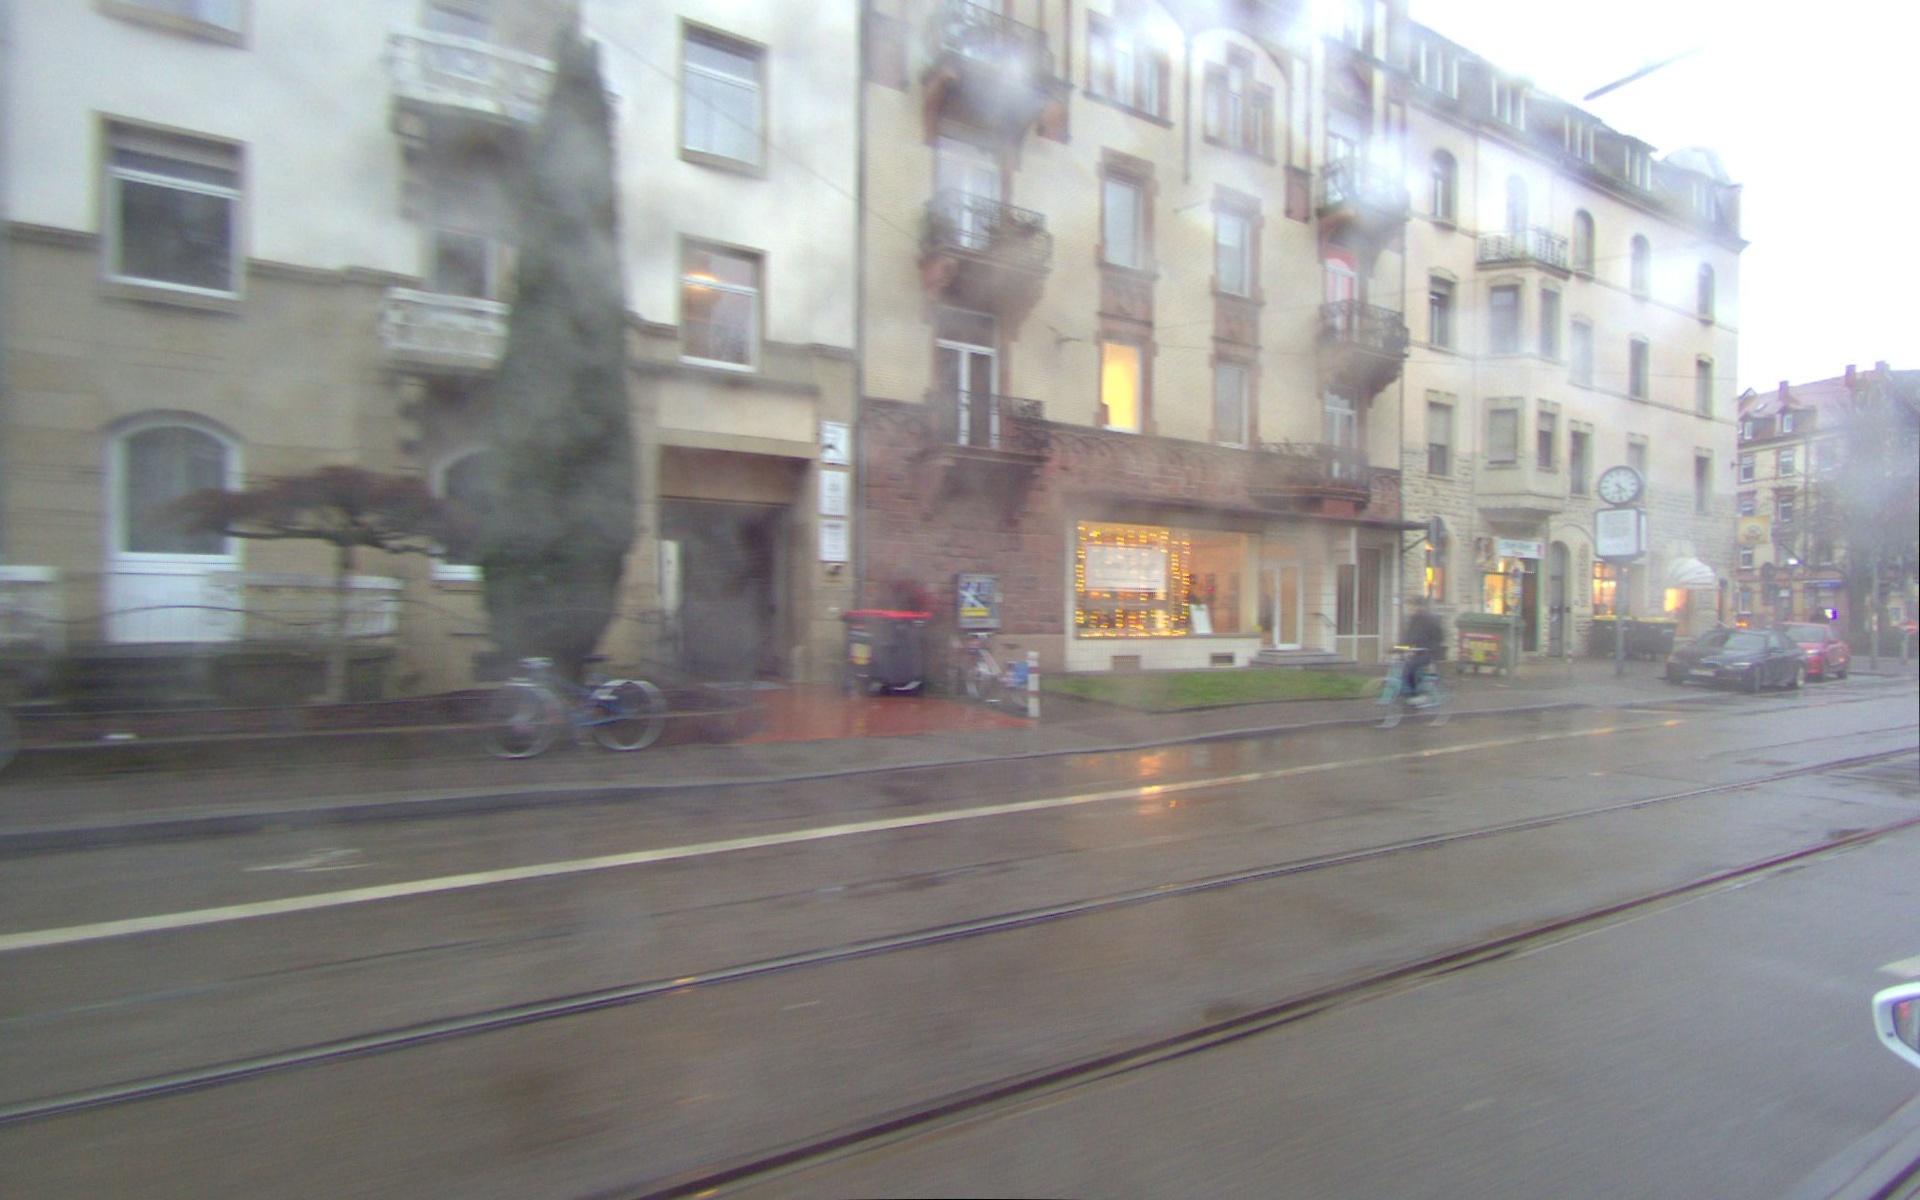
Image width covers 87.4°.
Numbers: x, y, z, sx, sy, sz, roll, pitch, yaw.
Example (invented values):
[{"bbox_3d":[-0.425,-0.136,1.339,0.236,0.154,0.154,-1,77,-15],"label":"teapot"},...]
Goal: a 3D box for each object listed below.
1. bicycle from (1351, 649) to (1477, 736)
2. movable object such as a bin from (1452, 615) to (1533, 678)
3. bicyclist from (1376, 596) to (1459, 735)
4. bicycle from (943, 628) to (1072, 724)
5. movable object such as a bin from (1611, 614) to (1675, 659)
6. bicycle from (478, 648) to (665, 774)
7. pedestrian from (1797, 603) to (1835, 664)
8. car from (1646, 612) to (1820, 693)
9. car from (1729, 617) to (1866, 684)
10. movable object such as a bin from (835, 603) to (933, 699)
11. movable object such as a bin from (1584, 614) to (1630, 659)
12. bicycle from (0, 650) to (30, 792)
[{"bbox_3d":[6.431,1.277,14.197,1.924,1.107,0.620,1,0,-30],"label":"bicycle"},{"bbox_3d":[12.762,1.084,24.090,1.235,1.439,1.261,1,0,-31],"label":"movable object such as a bin"},{"bbox_3d":[6.472,0.903,14.217,0.979,1.901,0.620,1,0,-30],"label":"bicyclist"},{"bbox_3d":[0.628,1.040,14.454,0.687,1.120,2.338,1,2,-29],"label":"bicycle"},{"bbox_3d":[21.821,1.152,32.102,1.238,1.385,1.287,1,0,-31],"label":"movable object such as a bin"},{"bbox_3d":[-3.800,1.046,9.855,1.642,1.107,0.620,1,0,-30],"label":"bicycle"},{"bbox_3d":[29.352,1.148,34.460,0.635,2.040,0.758,1,0,5],"label":"pedestrian"},{"bbox_3d":[19.180,1.261,24.872,4.583,1.667,1.973,2,4,-34],"label":"car"},{"bbox_3d":[23.728,1.369,28.432,3.993,1.573,2.022,0,4,-37],"label":"car"},{"bbox_3d":[-1.218,0.783,15.960,1.154,1.398,1.097,1,2,-30],"label":"movable object such as a bin"},{"bbox_3d":[20.506,1.145,31.844,0.995,1.396,0.894,1,0,-31],"label":"movable object such as a bin"},{"bbox_3d":[-7.897,0.893,7.233,1.642,1.016,0.620,1,0,-30],"label":"bicycle"}]
